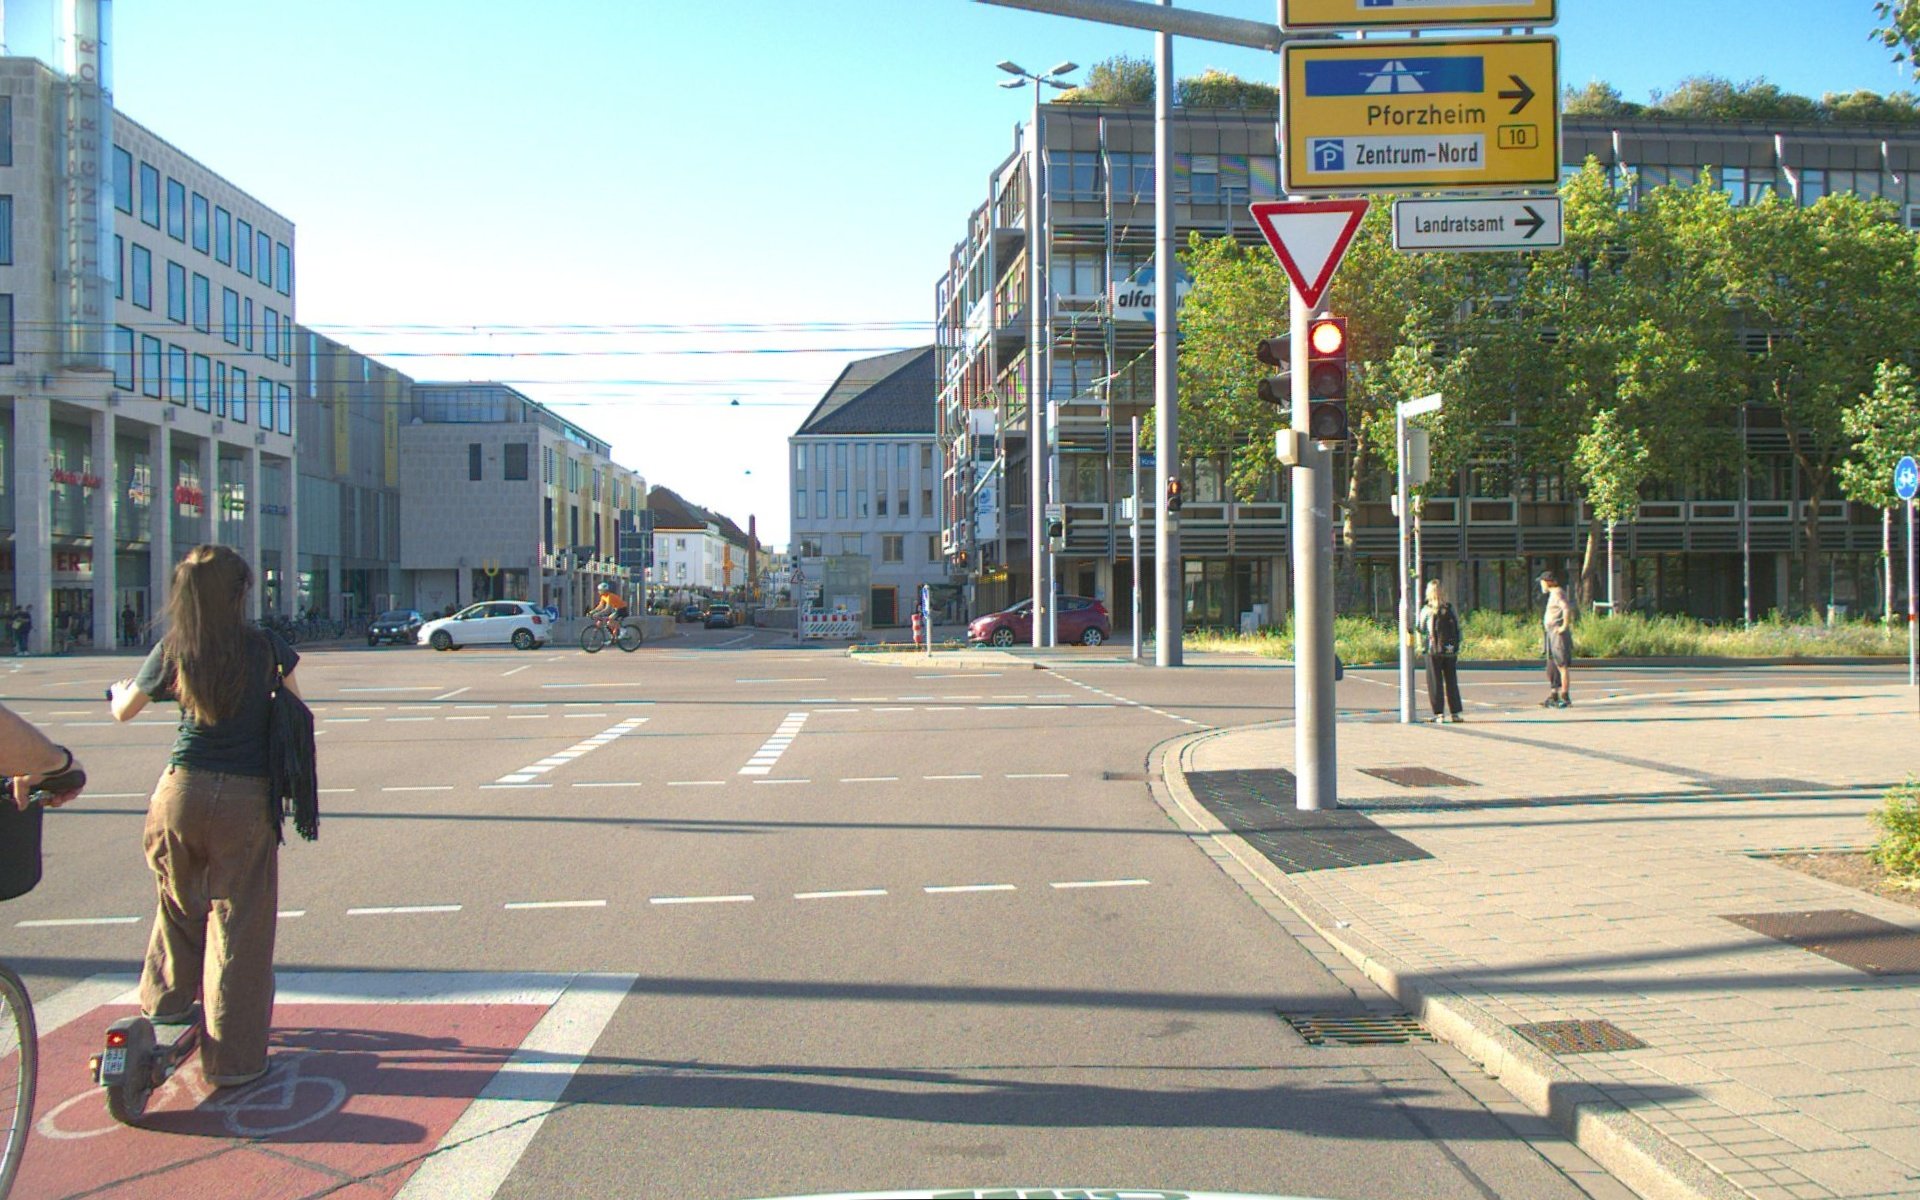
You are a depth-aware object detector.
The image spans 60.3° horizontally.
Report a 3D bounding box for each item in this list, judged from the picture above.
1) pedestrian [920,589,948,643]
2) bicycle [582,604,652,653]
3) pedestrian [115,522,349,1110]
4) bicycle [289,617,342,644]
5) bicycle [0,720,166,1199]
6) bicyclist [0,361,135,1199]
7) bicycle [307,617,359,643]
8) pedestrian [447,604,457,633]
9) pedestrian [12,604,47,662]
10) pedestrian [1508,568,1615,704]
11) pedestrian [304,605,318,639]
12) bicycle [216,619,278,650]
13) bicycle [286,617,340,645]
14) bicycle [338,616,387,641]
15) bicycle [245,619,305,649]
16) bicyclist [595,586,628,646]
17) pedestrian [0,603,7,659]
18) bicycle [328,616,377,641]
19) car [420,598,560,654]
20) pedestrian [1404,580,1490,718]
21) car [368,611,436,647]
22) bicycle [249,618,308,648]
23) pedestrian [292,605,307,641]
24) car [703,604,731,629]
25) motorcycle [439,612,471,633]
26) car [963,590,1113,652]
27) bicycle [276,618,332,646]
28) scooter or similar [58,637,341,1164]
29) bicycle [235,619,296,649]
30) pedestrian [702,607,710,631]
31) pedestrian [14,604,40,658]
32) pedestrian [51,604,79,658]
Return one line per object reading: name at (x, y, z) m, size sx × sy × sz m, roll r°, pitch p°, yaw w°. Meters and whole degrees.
pedestrian at (-0.926, 0.568, 58.795) m, size 0.630 × 1.923 × 0.789 m, roll 1°, pitch -1°, yaw 31°
bicycle at (-8.489, 0.710, 40.926) m, size 1.623 × 1.175 × 0.493 m, roll 1°, pitch -1°, yaw -24°
pedestrian at (-2.189, 0.613, 5.029) m, size 0.540 × 1.661 × 0.569 m, roll 1°, pitch -1°, yaw -16°
bicycle at (-30.719, 1.445, 78.818) m, size 2.260 × 1.244 × 0.611 m, roll 0°, pitch 0°, yaw -3°
bicycle at (-2.083, 0.865, 2.928) m, size 0.475 × 1.176 × 1.831 m, roll 1°, pitch 0°, yaw -1°
bicyclist at (-1.979, 0.461, 2.854) m, size 0.647 × 1.750 × 0.865 m, roll 1°, pitch -1°, yaw -1°
bicycle at (-30.340, 1.457, 80.051) m, size 2.260 × 1.244 × 0.611 m, roll 0°, pitch 0°, yaw -3°
pedestrian at (-30.105, 1.071, 98.078) m, size 0.512 × 1.709 × 0.581 m, roll 1°, pitch 0°, yaw -14°
pedestrian at (-33.312, 1.179, 59.210) m, size 0.868 × 2.049 × 0.771 m, roll 1°, pitch -1°, yaw -12°
pedestrian at (7.713, 0.455, 21.228) m, size 0.866 × 1.694 × 0.958 m, roll 1°, pitch -1°, yaw -22°
pedestrian at (-33.196, 1.121, 84.618) m, size 0.560 × 1.709 × 0.614 m, roll 1°, pitch 0°, yaw -10°
bicycle at (-29.338, 1.423, 68.116) m, size 2.260 × 1.244 × 0.611 m, roll 0°, pitch 0°, yaw -3°
bicycle at (-30.070, 1.448, 76.848) m, size 2.260 × 1.244 × 0.611 m, roll 0°, pitch 0°, yaw -3°
bicycle at (-30.821, 1.471, 85.338) m, size 2.260 × 1.244 × 0.611 m, roll 0°, pitch 0°, yaw -3°
bicycle at (-29.295, 1.435, 70.756) m, size 2.260 × 1.244 × 0.611 m, roll 0°, pitch 0°, yaw -3°
bicyclist at (-8.616, 0.384, 40.863) m, size 0.702 × 1.462 × 0.493 m, roll 1°, pitch -1°, yaw -24°
pedestrian at (-33.149, 1.050, 56.737) m, size 0.706 × 1.918 × 0.780 m, roll 1°, pitch -1°, yaw -28°
bicycle at (-30.933, 1.465, 84.267) m, size 2.260 × 1.244 × 0.611 m, roll 0°, pitch 0°, yaw -3°
car at (-14.184, 0.777, 50.068) m, size 3.825 × 1.613 × 1.656 m, roll 1°, pitch 0°, yaw -8°
pedestrian at (5.513, 0.547, 18.751) m, size 0.772 × 1.518 × 0.644 m, roll 1°, pitch -1°, yaw -1°
car at (-23.383, 1.205, 69.485) m, size 1.597 × 1.365 × 3.998 m, roll -3°, pitch 0°, yaw -3°
bicycle at (-29.509, 1.435, 71.633) m, size 2.260 × 1.244 × 0.611 m, roll 0°, pitch 0°, yaw -3°
pedestrian at (-32.166, 1.117, 80.506) m, size 0.639 × 1.749 × 0.447 m, roll 0°, pitch 0°, yaw -25°
car at (-15.832, 1.055, 107.947) m, size 1.705 × 1.558 × 3.849 m, roll 1°, pitch 0°, yaw -8°
motorcycle at (-29.767, 1.326, 97.476) m, size 1.775 × 1.228 × 0.509 m, roll 1°, pitch 0°, yaw -16°
car at (2.100, 0.550, 45.049) m, size 3.814 × 1.613 × 1.655 m, roll -1°, pitch 0°, yaw -10°
bicycle at (-29.609, 1.446, 74.698) m, size 2.260 × 1.244 × 0.611 m, roll 0°, pitch 0°, yaw -3°
scooter or similar at (-2.179, 0.782, 4.862) m, size 0.538 × 1.316 × 1.189 m, roll 1°, pitch 0°, yaw -15°
bicycle at (-29.131, 1.432, 69.402) m, size 2.260 × 1.244 × 0.611 m, roll 0°, pitch 0°, yaw -3°
pedestrian at (-17.920, 1.358, 116.838) m, size 0.511 × 1.709 × 0.582 m, roll 1°, pitch 0°, yaw -8°
pedestrian at (-32.903, 1.076, 58.332) m, size 0.787 × 1.876 × 0.856 m, roll 0°, pitch 0°, yaw -29°
pedestrian at (-31.175, 1.068, 57.603) m, size 0.788 × 1.876 × 0.854 m, roll 0°, pitch 0°, yaw -33°
